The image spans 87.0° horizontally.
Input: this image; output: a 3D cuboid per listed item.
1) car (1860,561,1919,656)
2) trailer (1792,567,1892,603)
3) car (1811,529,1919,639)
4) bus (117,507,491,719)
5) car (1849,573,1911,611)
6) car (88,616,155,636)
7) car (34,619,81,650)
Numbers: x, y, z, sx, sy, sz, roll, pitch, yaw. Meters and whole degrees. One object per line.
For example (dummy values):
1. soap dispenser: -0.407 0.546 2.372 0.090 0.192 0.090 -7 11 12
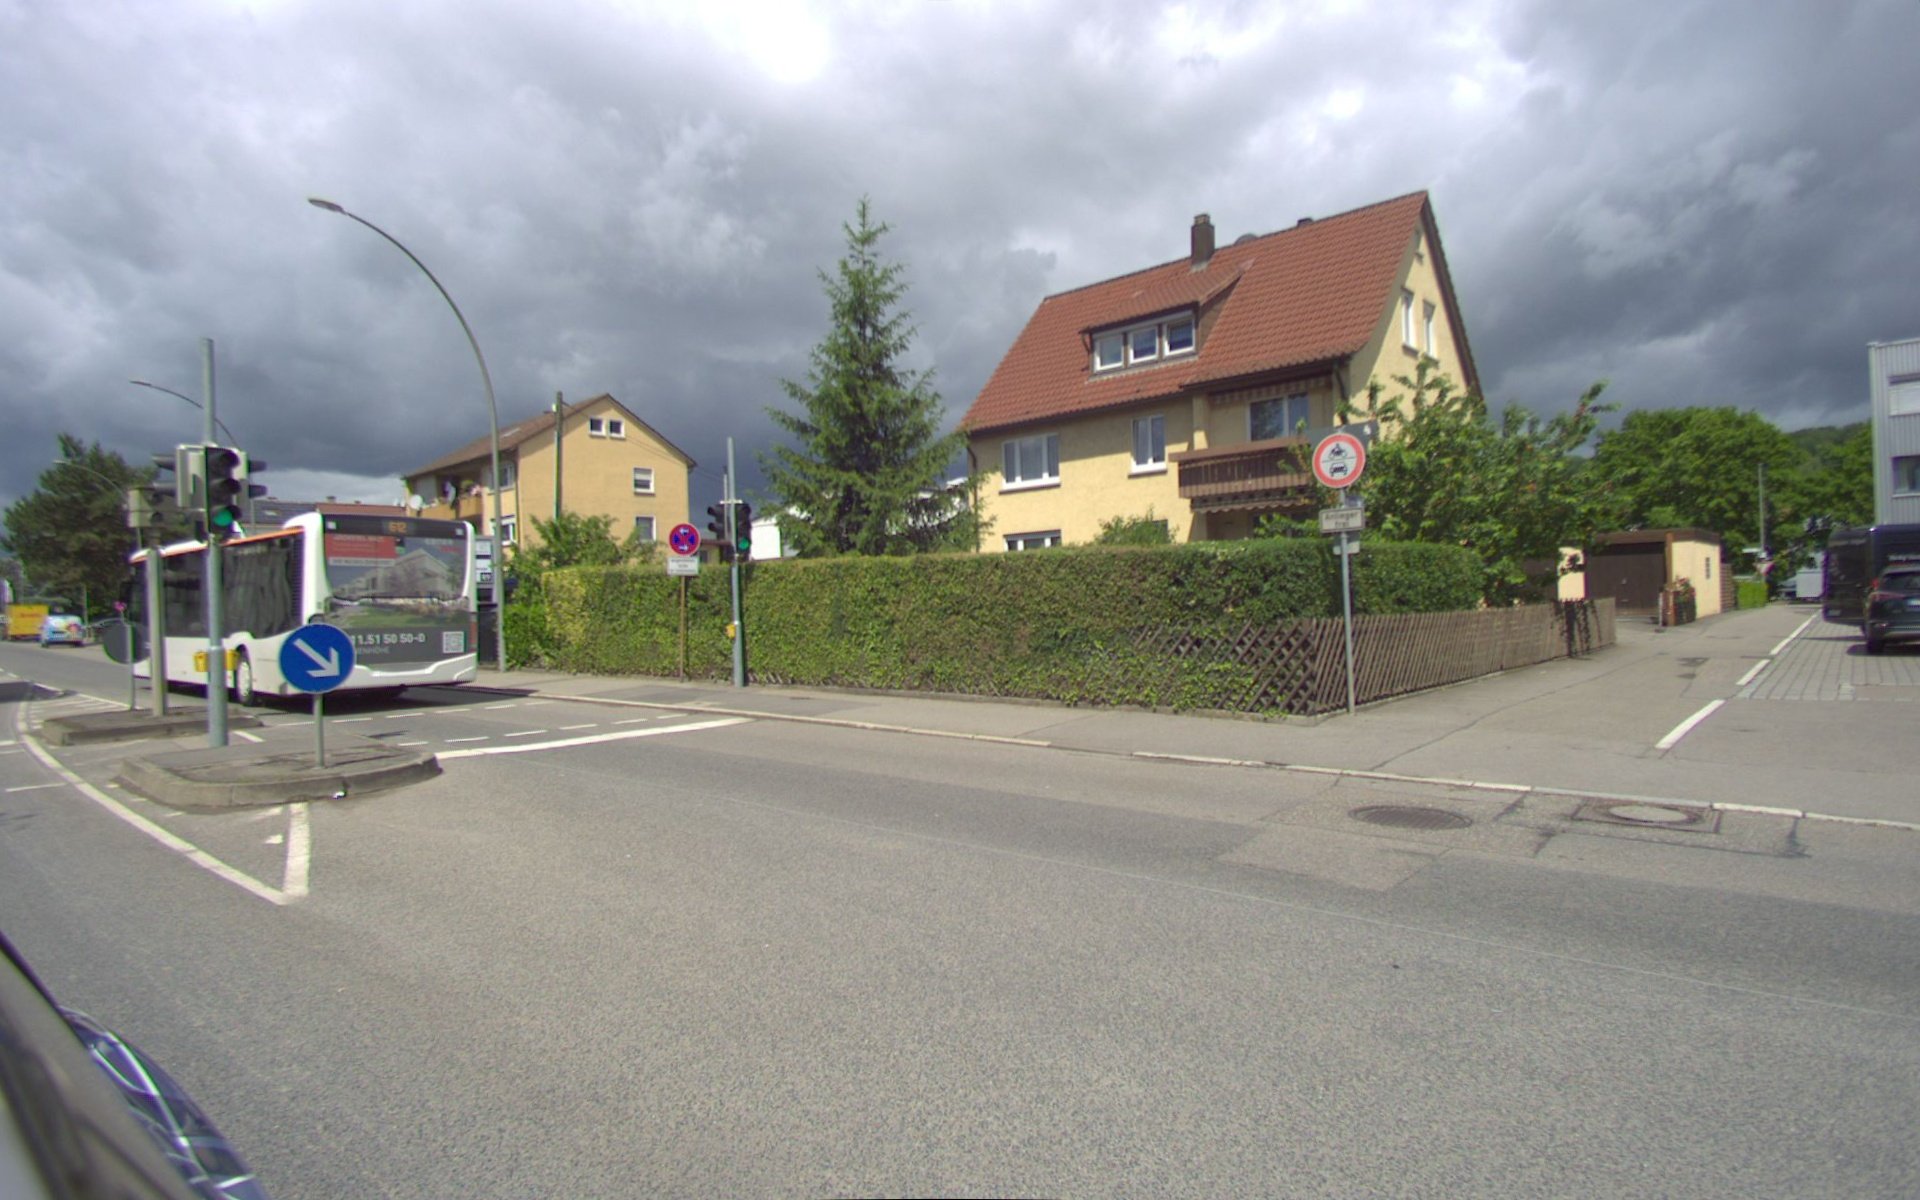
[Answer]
1. car: 18.579 0.077 19.019 3.938 1.654 1.901 -2 -2 -41
2. trailer: 52.897 -0.865 60.747 1.971 2.029 4.415 -2 0 -45
3. car: 22.208 -0.393 22.916 3.958 2.383 1.993 -2 0 12
4. bus: -13.257 0.281 19.602 12.257 3.054 2.691 -1 -1 40
5. car: 35.690 -0.323 39.257 1.689 1.358 3.944 -1 1 43
6. car: -79.988 2.462 96.624 2.218 1.691 4.671 -1 1 43
7. car: -53.371 2.035 59.834 4.000 1.693 1.707 -1 0 43
